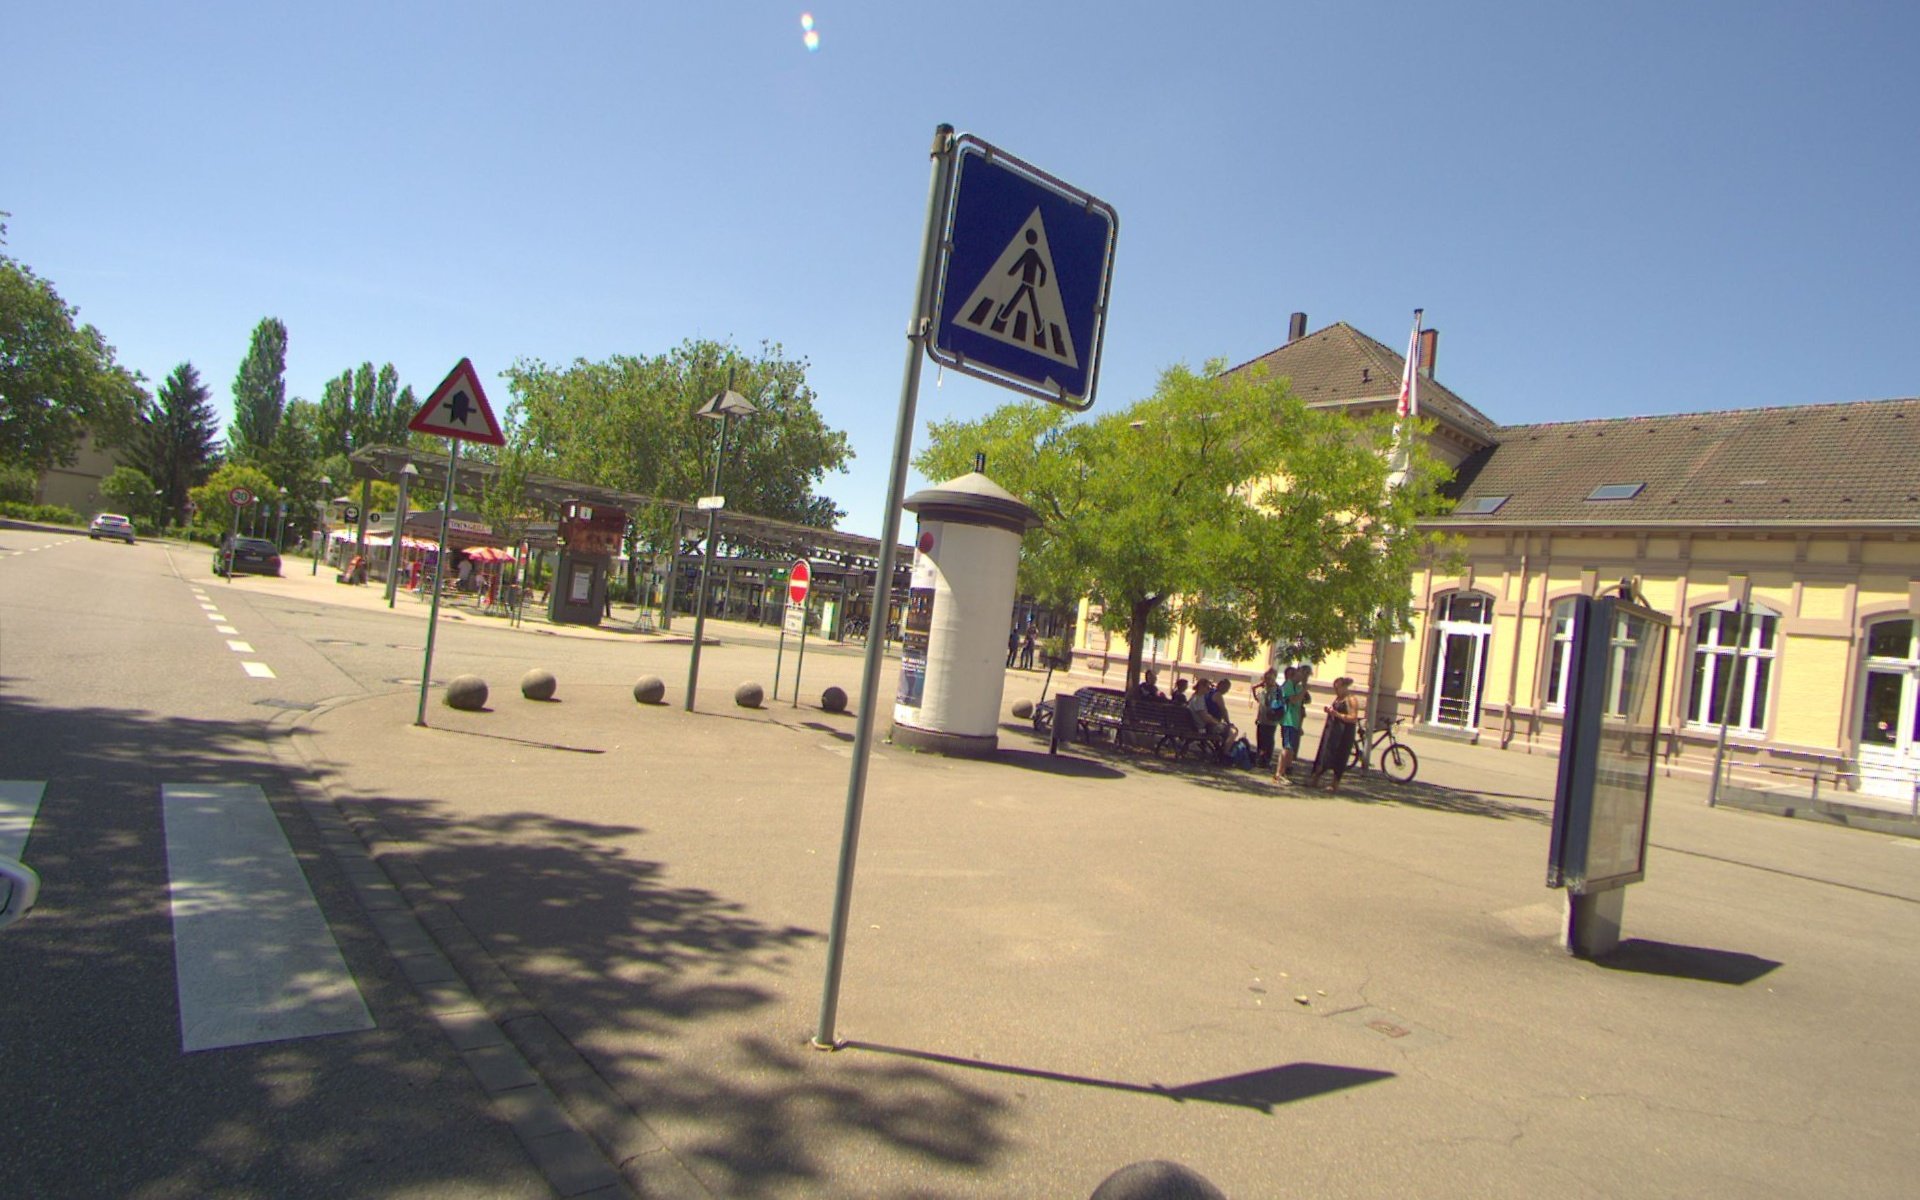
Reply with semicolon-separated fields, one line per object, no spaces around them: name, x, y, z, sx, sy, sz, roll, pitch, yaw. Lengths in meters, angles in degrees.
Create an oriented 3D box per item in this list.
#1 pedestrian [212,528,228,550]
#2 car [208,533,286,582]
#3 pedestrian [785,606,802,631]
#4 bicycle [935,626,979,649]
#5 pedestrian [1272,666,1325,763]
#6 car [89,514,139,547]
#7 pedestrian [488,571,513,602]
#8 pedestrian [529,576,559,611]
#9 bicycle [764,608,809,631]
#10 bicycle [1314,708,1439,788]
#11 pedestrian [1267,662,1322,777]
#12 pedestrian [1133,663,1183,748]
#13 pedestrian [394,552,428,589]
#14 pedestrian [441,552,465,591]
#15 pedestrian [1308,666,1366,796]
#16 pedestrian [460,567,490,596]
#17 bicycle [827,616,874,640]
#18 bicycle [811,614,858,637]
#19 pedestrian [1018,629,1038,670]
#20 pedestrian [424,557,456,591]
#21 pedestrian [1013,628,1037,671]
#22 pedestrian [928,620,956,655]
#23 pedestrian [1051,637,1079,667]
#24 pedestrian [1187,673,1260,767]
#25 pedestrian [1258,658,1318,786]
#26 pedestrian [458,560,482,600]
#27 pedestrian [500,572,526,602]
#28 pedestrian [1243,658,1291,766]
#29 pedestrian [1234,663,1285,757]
pedestrian;-60.275;-4.967;81.967;0.627;1.667;0.750;7;-3;-12
car;-26.361;-1.610;37.136;1.917;1.479;4.672;5;0;-40
pedestrian;-9.889;1.077;59.650;0.622;1.412;0.669;6;0;-40
bicycle;-0.199;2.382;64.042;2.781;1.014;0.956;12;-4;-42
pedestrian;6.291;2.127;18.679;0.582;1.705;0.617;7;-1;38
car;-51.892;-4.286;61.798;1.973;1.646;4.729;8;-1;-37
pedestrian;-19.443;-0.566;42.530;0.682;1.174;0.886;8;-1;-35
pedestrian;-17.353;-0.279;41.947;0.841;1.292;0.886;8;-1;-35
bicycle;-11.303;1.276;65.648;2.781;1.014;0.802;12;-4;-42
bicycle;7.266;2.564;17.637;0.419;1.072;1.926;8;-1;-41
pedestrian;5.423;1.923;16.299;0.589;1.760;0.585;7;0;25
pedestrian;3.456;1.824;17.521;0.589;1.381;0.599;7;0;22
pedestrian;-23.223;-1.243;42.582;0.675;1.434;0.896;7;-1;13
pedestrian;-24.245;-1.341;48.106;0.683;1.758;0.699;8;-1;-40
pedestrian;5.438;1.873;14.501;0.538;1.760;0.627;7;0;25
pedestrian;-21.972;-0.835;45.591;0.675;1.174;0.896;7;-1;16
bicycle;-6.539;1.672;60.300;2.781;1.014;0.802;12;-4;-42
bicycle;-7.609;1.559;61.137;2.781;1.014;0.802;12;-4;-42
pedestrian;3.123;2.271;46.378;0.543;1.831;0.496;7;0;-19
pedestrian;-23.119;-1.147;44.733;0.675;1.328;0.895;7;-1;16
pedestrian;2.957;2.251;45.557;0.680;1.831;0.629;7;0;-18
pedestrian;-0.901;1.900;50.641;0.845;1.609;0.921;7;-1;42
pedestrian;5.165;2.566;49.595;0.960;1.370;1.050;4;0;29
pedestrian;4.408;1.981;16.794;0.926;1.402;0.913;7;-1;21
pedestrian;4.847;1.783;14.860;0.575;1.785;0.693;7;0;24
pedestrian;-22.986;-0.942;47.225;0.683;1.757;0.699;8;-2;-40
pedestrian;-20.616;-0.596;46.373;0.756;1.218;0.729;11;-3;-40
pedestrian;5.300;1.926;17.379;0.560;1.760;0.512;7;0;21
pedestrian;5.713;2.088;19.162;0.579;1.705;0.553;7;0;38
